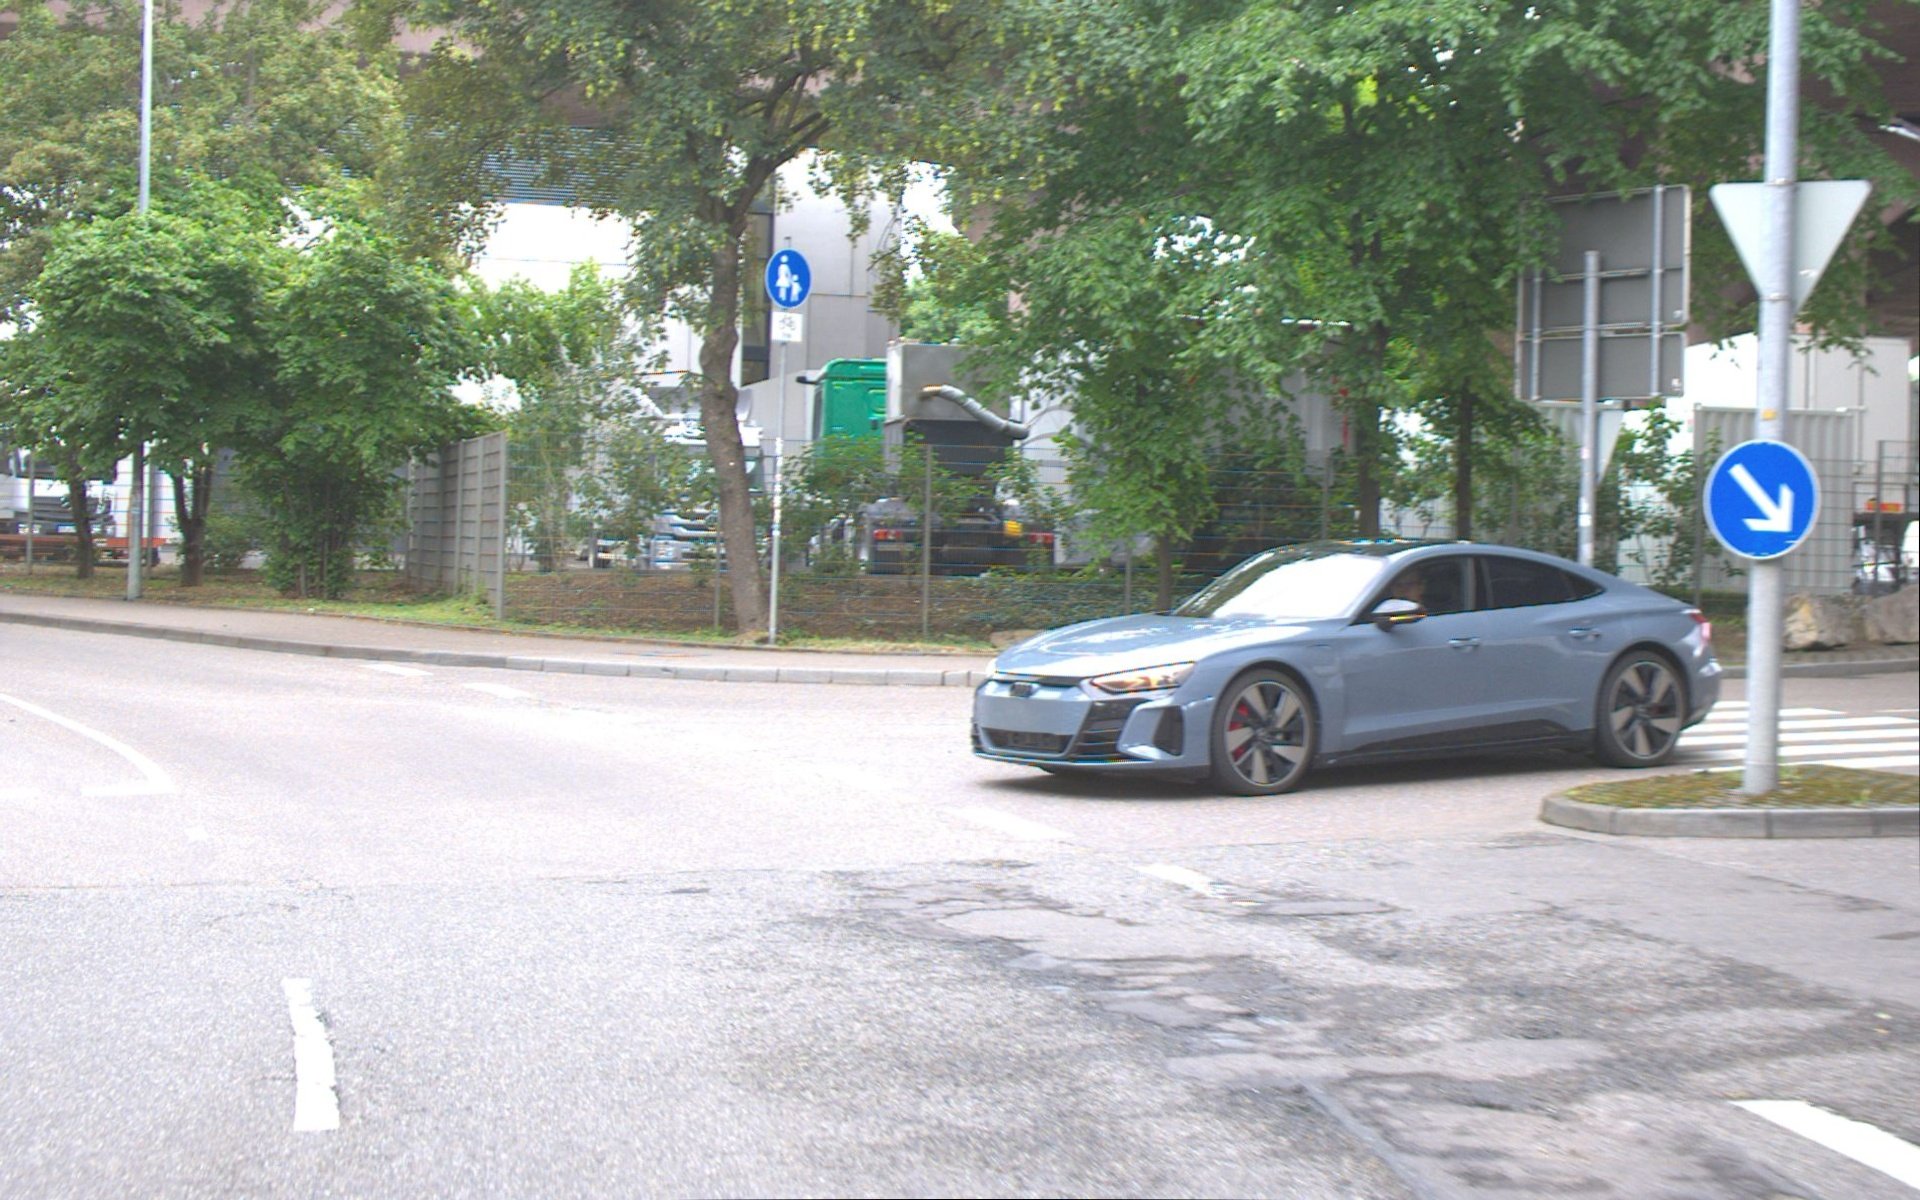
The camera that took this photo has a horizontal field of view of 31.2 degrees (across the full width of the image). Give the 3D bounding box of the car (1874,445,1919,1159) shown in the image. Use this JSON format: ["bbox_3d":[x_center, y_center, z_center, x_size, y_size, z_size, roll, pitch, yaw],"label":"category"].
[{"bbox_3d":[4.315,0.462,9.359,1.998,1.673,4.551,0,0,37],"label":"car"}]

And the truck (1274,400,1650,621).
[{"bbox_3d":[6.903,-1.311,48.346,2.914,2.889,6.561,0,2,-14],"label":"truck"}]

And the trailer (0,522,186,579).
[{"bbox_3d":[-15.230,-0.864,58.035,2.149,0.740,6.294,-4,4,-33],"label":"trailer"}]

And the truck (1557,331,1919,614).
[{"bbox_3d":[12.633,-2.103,56.212,3.065,4.285,8.051,0,2,-10],"label":"truck"}]

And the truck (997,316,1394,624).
[{"bbox_3d":[3.038,-1.802,47.324,3.065,3.854,8.051,0,2,-14],"label":"truck"}]

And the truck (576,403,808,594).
[{"bbox_3d":[-5.502,-2.105,69.122,3.054,3.606,7.918,0,3,-16],"label":"truck"}]

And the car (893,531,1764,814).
[{"bbox_3d":[2.254,0.360,20.430,4.917,1.496,2.173,0,1,-35],"label":"car"}]

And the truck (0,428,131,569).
[{"bbox_3d":[-19.362,-1.917,65.153,7.219,2.543,2.720,1,1,30],"label":"truck"}]

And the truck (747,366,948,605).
[{"bbox_3d":[-2.481,-2.448,72.587,3.202,4.763,8.051,0,2,-9],"label":"truck"}]

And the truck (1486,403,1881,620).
[{"bbox_3d":[10.205,-1.322,49.268,2.914,2.889,6.561,0,2,-14],"label":"truck"}]

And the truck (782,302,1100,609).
[{"bbox_3d":[-0.411,-1.983,47.948,3.065,3.949,6.926,0,2,-12],"label":"truck"}]
